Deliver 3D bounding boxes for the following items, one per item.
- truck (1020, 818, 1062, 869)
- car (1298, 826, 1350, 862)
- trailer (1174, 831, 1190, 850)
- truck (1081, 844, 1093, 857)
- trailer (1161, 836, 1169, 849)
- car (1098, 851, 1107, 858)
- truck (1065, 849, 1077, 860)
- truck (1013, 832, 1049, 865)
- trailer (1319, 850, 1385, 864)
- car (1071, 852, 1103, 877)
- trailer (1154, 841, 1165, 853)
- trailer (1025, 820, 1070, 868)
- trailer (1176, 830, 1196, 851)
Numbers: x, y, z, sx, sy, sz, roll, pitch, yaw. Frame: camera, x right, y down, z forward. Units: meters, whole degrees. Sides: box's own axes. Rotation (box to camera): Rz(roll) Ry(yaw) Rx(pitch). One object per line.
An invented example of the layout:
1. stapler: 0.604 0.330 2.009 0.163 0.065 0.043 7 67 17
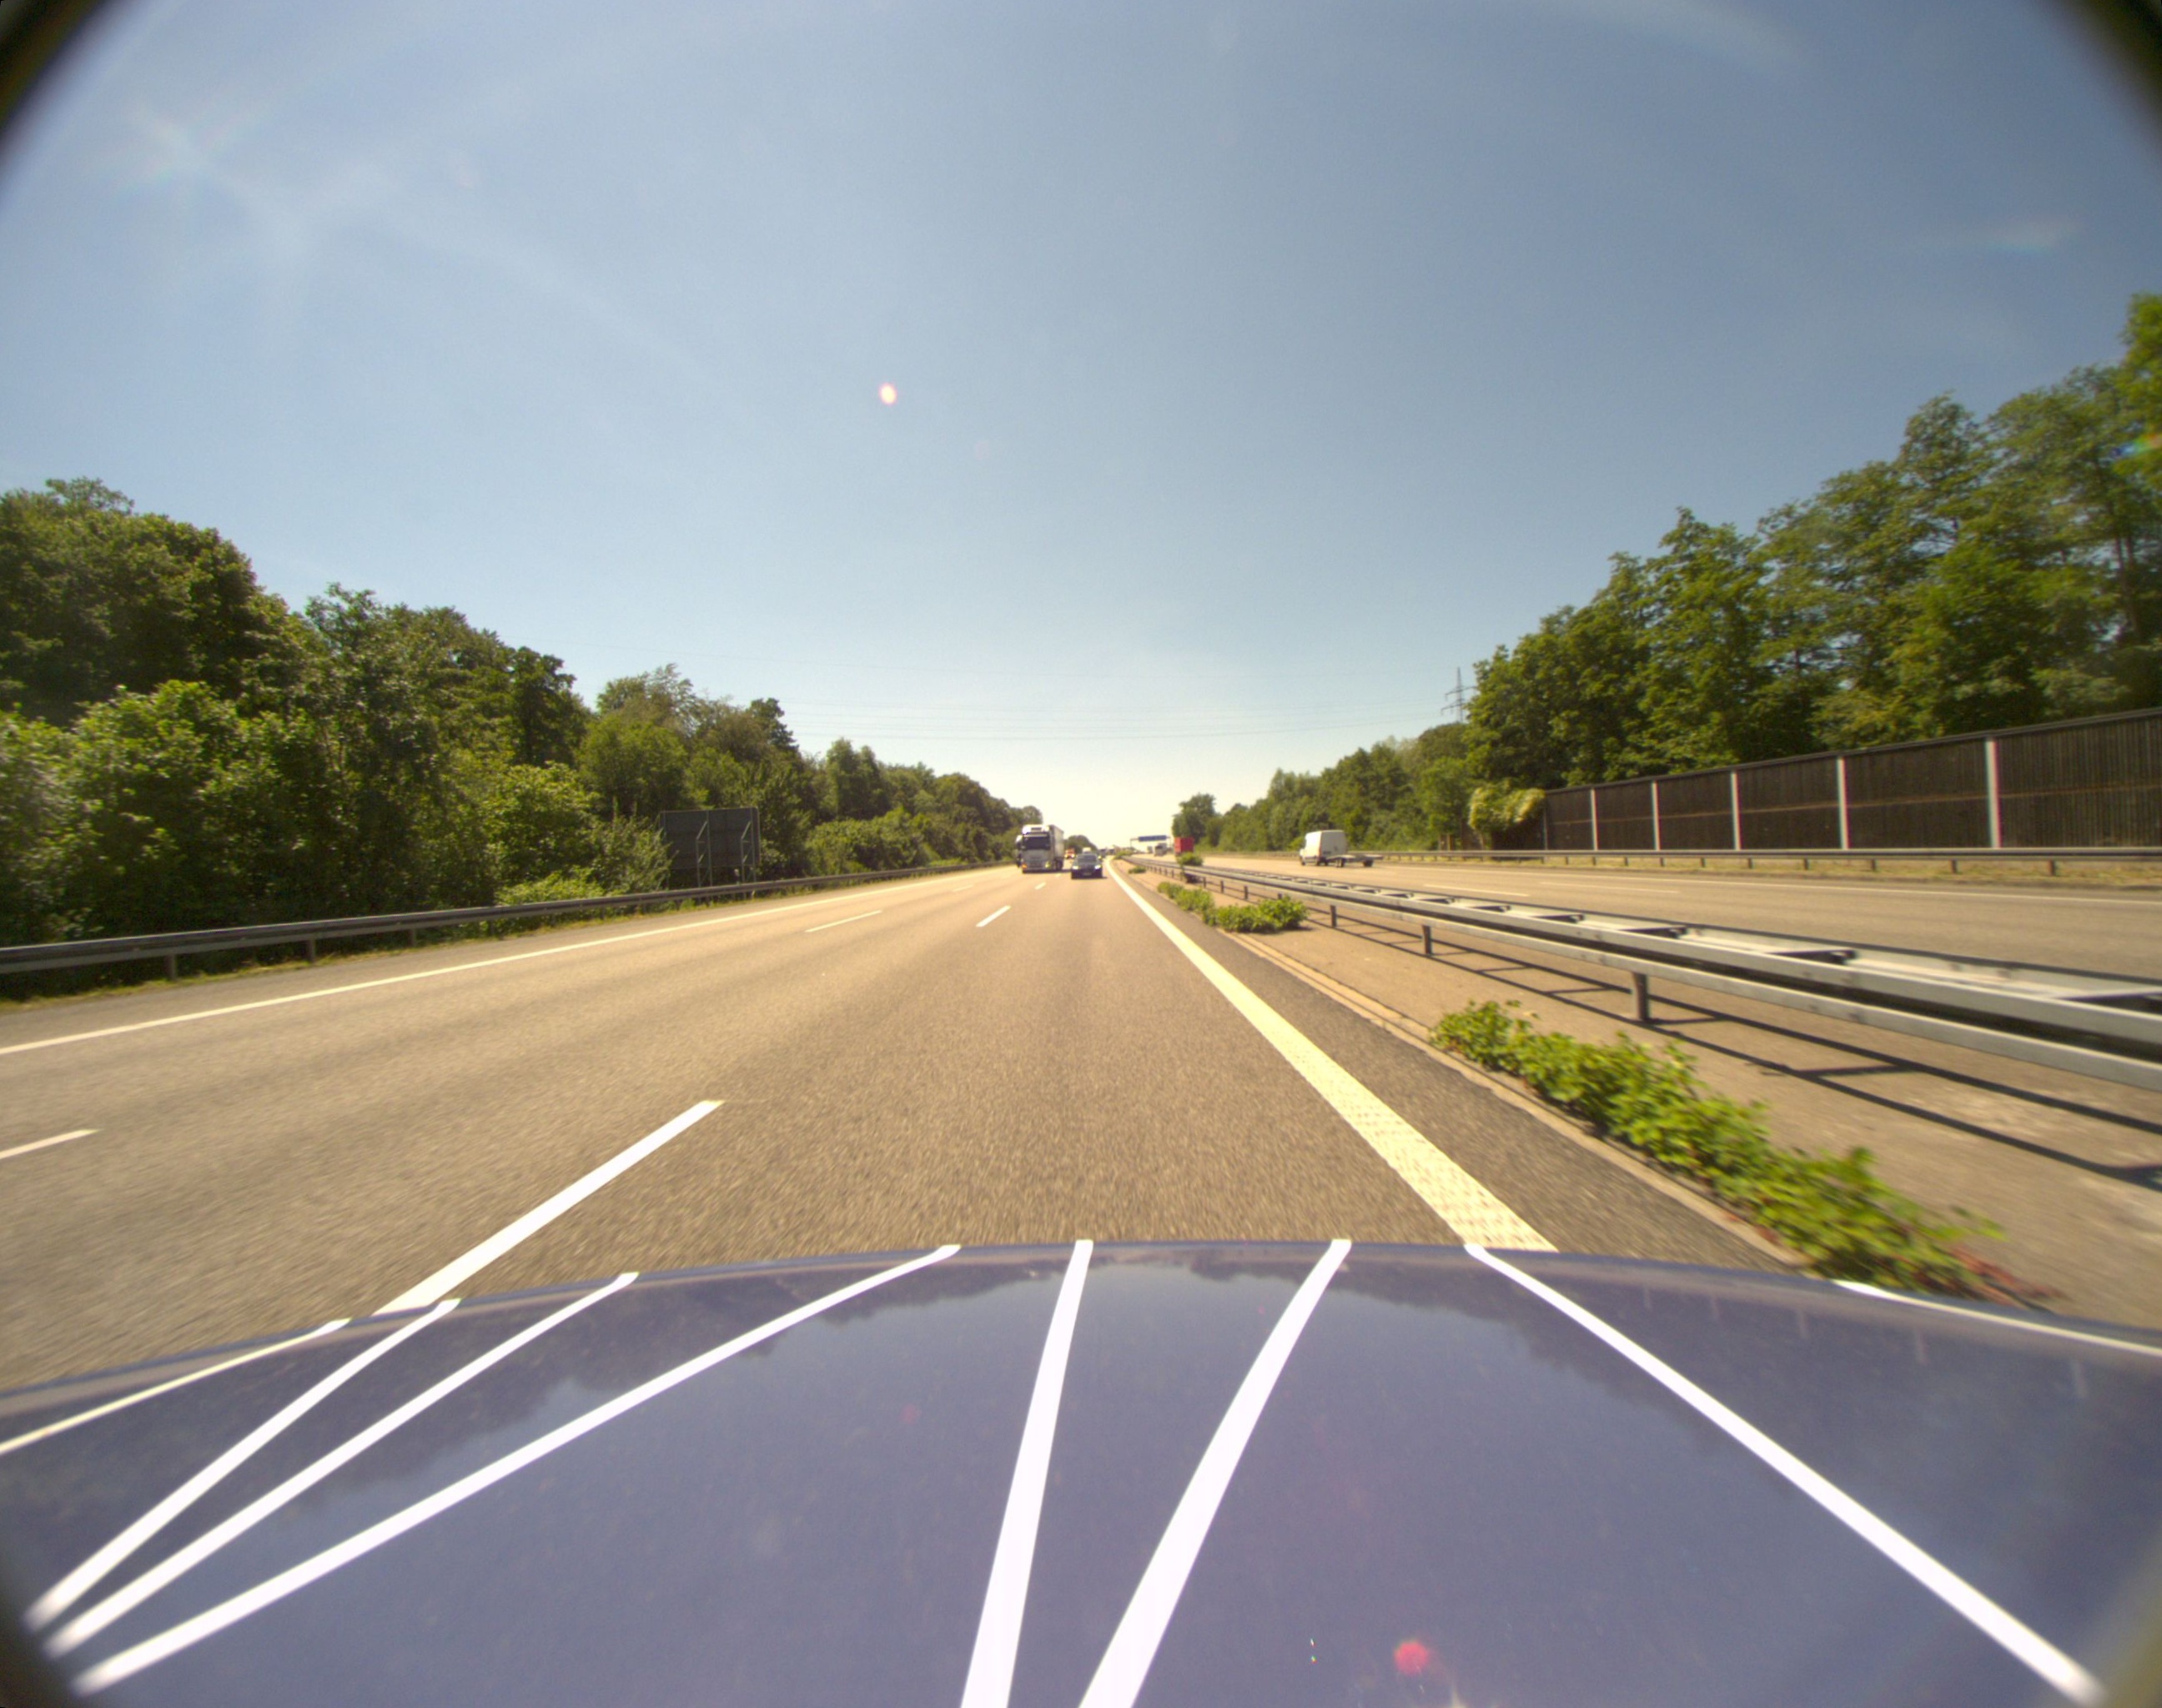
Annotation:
1. truck: -3.286 -0.855 63.842 2.729 3.952 6.502 -2 1 3
2. car: 17.619 -0.705 55.428 2.029 2.417 5.412 -2 1 1
3. trailer: 21.906 -2.871 164.477 2.695 4.018 6.036 -2 1 1
4. truck: 1.490 -0.832 189.296 2.859 3.163 10.711 -2 0 1
5. trailer: 27.700 -3.853 250.817 2.676 3.943 13.668 -2 0 6
6. car: 5.232 0.162 184.451 1.879 1.630 4.000 -2 0 1
7. truck: -2.336 0.067 185.568 2.437 2.426 10.010 -2 0 2
8. truck: -6.316 -0.742 99.135 3.049 3.947 14.453 -2 1 2
9. trailer: 17.565 0.176 49.541 2.166 0.802 6.281 -2 0 1
10. car: 0.430 0.630 46.550 1.800 1.390 4.834 -2 0 2
11. trailer: 18.936 -1.703 184.239 2.091 2.598 4.955 -2 1 1
12. trailer: -2.924 -0.910 70.705 2.746 3.952 13.655 -2 0 3
13. trailer: 21.672 -2.782 157.443 2.690 4.044 14.051 -2 0 2
